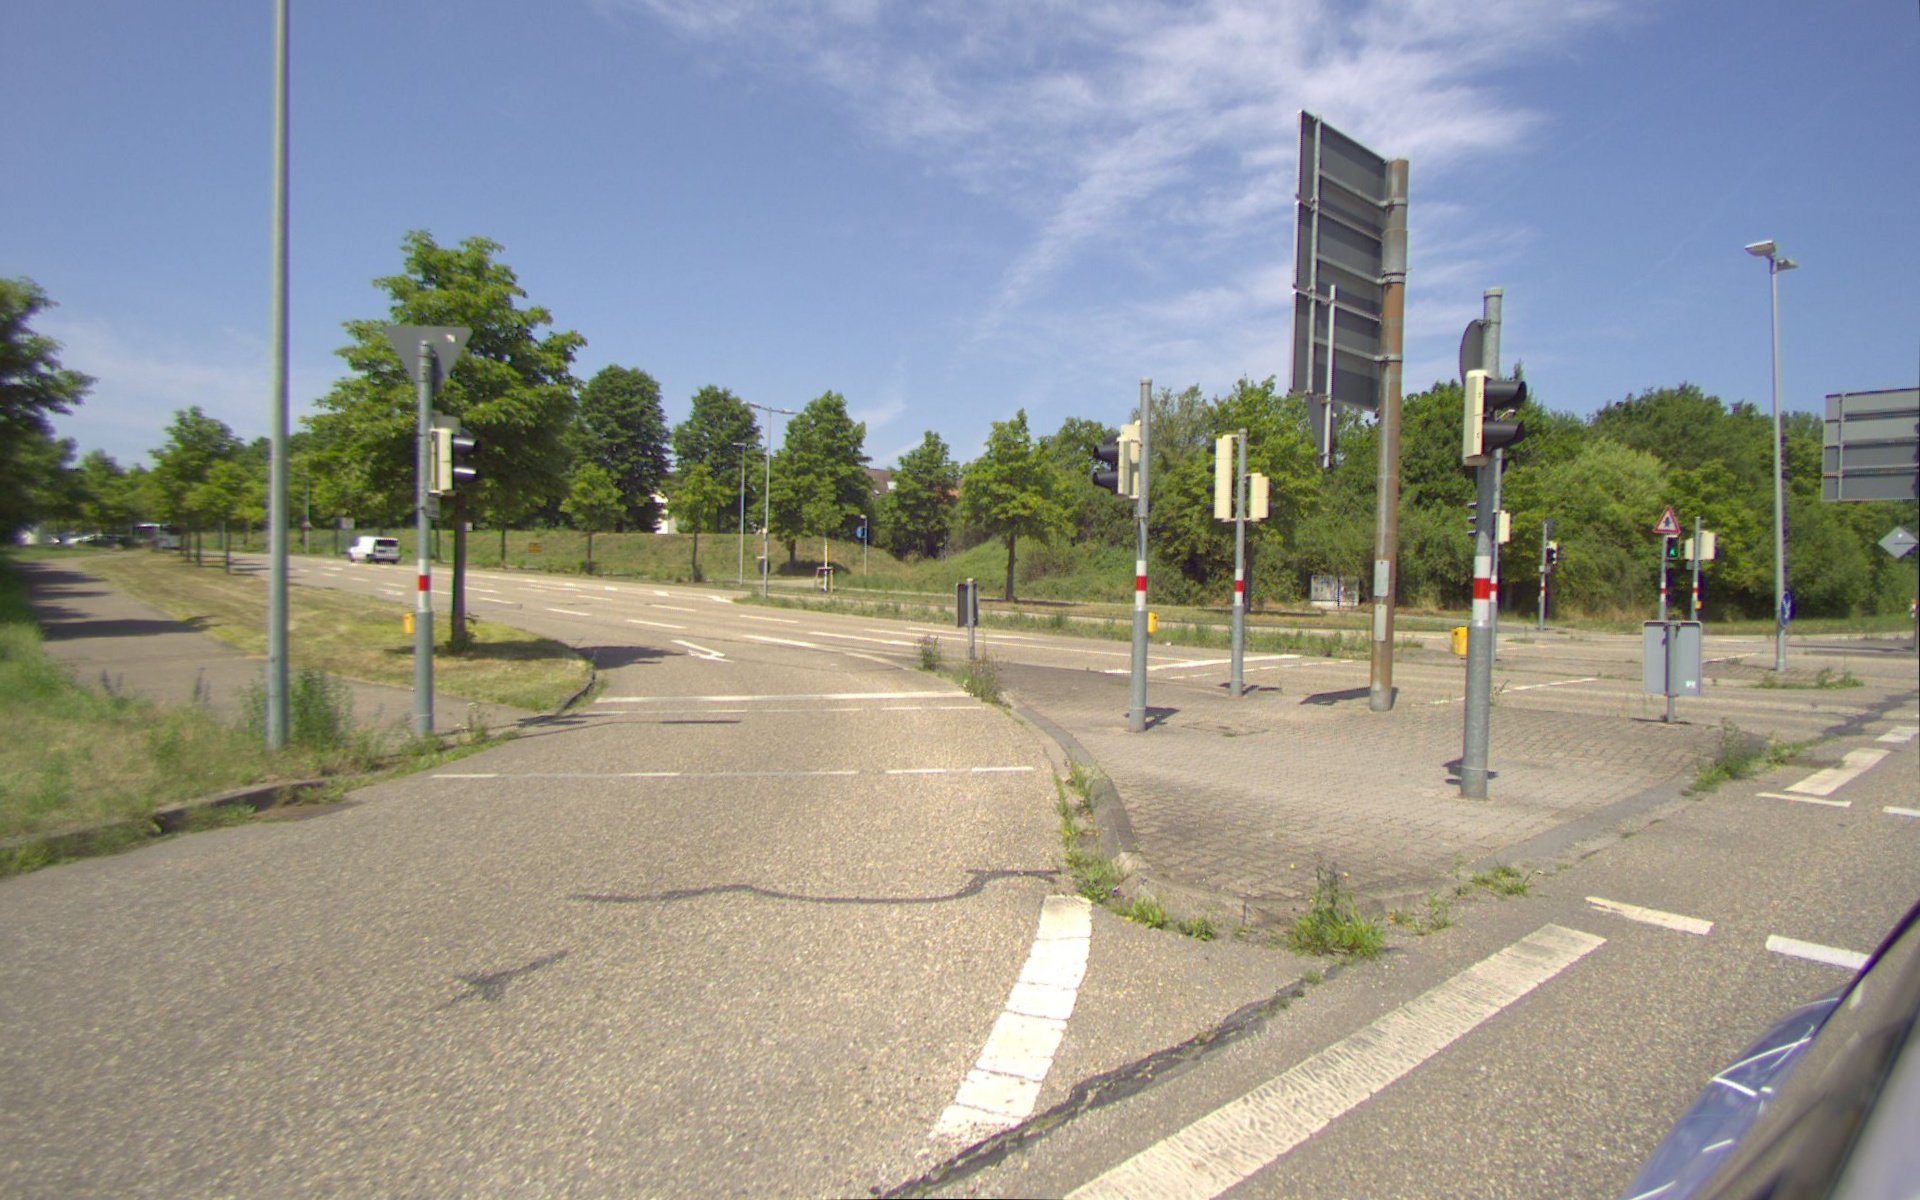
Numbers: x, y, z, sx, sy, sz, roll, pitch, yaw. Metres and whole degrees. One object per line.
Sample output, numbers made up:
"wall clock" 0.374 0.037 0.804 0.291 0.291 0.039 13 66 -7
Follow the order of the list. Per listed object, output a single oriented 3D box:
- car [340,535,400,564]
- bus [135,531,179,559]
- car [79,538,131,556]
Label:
"car" -41.191 -3.534 70.606 4.881 1.840 1.841 4 2 37
"bus" -96.806 -6.528 121.857 12.042 3.125 2.590 2 2 44
"car" -82.375 -5.074 97.499 3.762 1.571 1.660 -1 0 -42
